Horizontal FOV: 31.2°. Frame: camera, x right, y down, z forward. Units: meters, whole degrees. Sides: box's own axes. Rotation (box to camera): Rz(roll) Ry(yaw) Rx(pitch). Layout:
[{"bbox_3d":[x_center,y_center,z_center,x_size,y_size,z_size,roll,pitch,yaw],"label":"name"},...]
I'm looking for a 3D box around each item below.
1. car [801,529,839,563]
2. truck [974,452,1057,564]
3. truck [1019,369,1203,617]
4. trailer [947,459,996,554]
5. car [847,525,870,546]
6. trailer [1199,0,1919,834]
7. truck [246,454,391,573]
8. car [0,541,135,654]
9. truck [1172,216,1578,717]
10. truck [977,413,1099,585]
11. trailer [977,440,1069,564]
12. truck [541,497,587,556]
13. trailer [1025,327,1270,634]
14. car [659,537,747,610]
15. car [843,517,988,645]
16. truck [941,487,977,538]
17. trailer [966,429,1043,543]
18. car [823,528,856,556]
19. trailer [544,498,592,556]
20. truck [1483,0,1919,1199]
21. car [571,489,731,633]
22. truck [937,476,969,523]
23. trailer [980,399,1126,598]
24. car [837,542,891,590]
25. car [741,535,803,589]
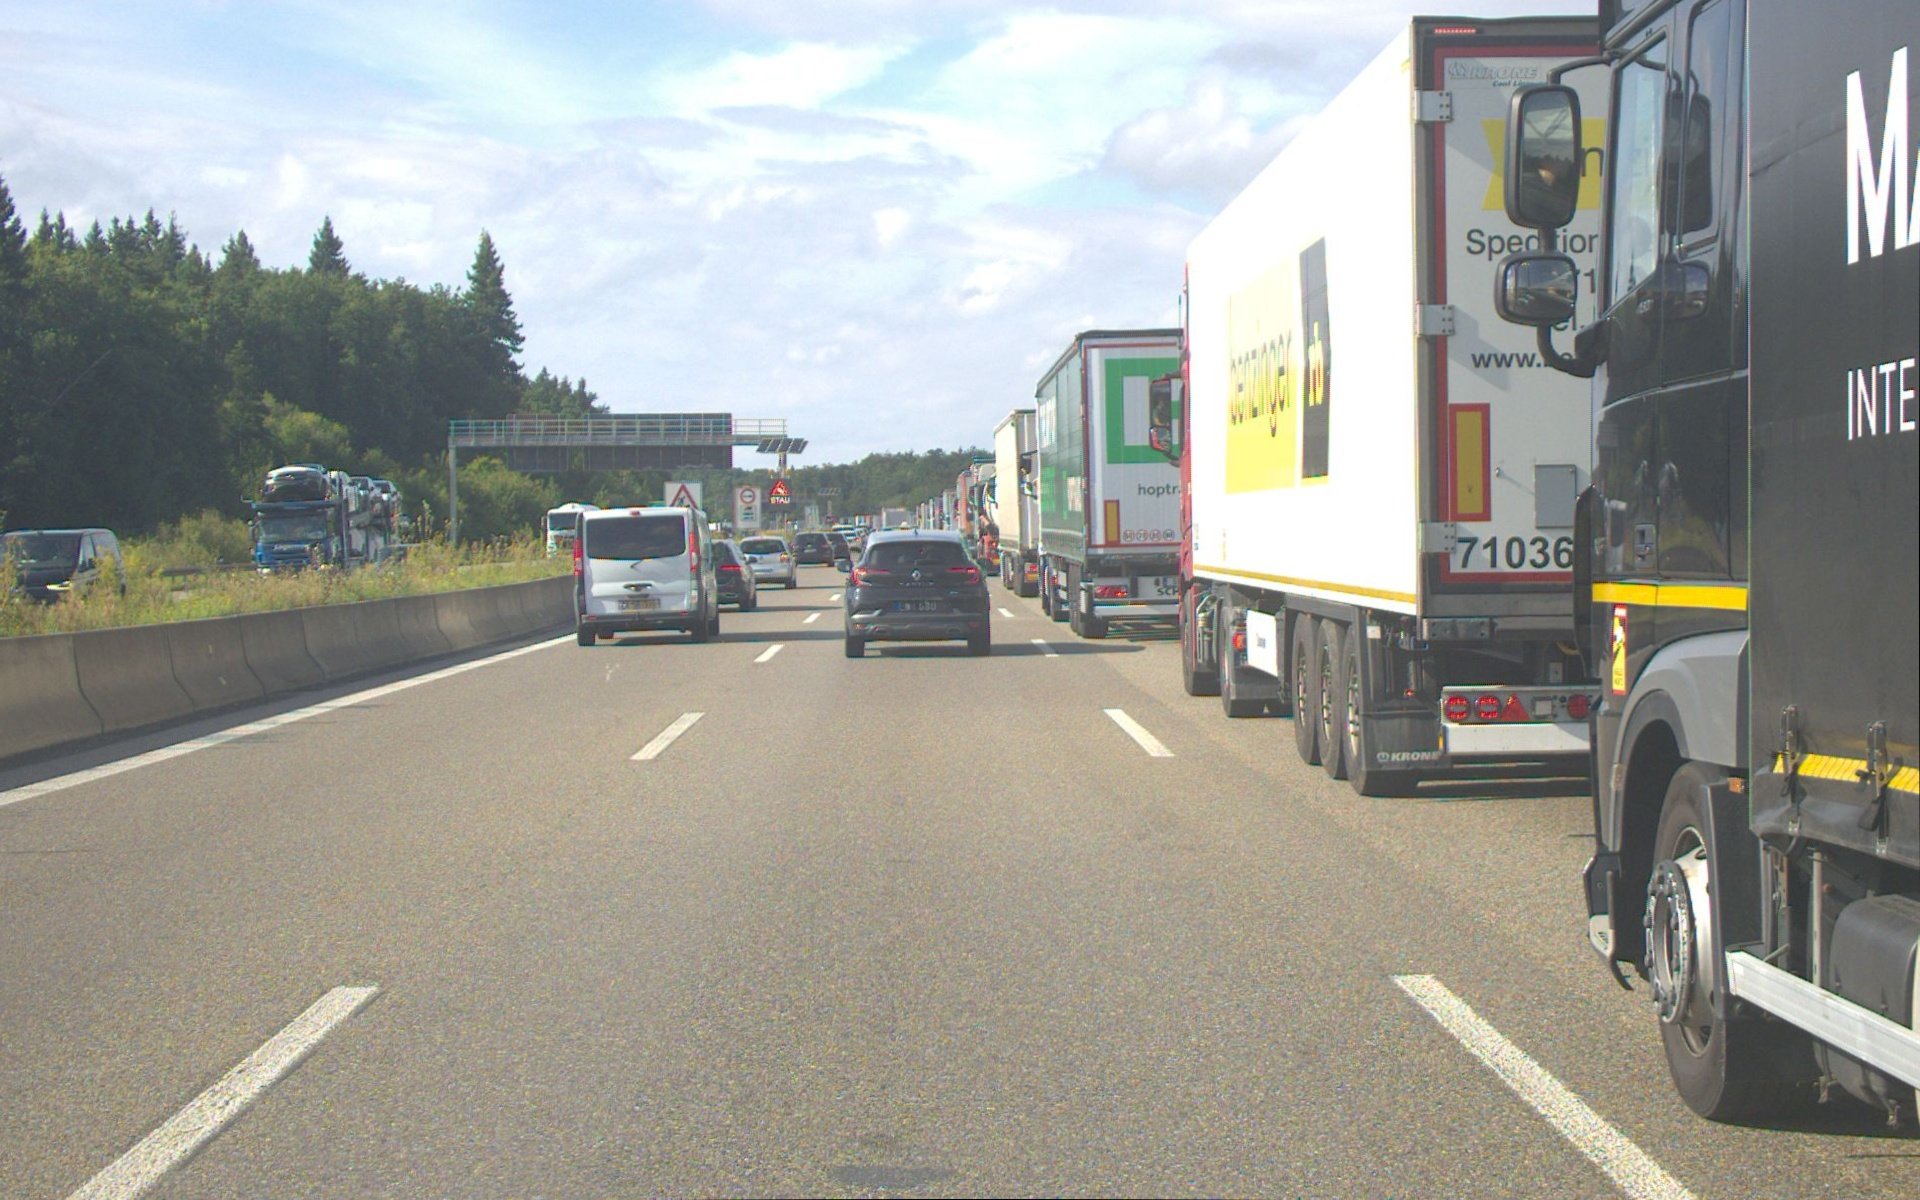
[{"bbox_3d":[-5.776,-2.237,142.266,1.434,1.305,3.534,2,1,-1],"label":"car"},{"bbox_3d":[1.802,-3.028,114.327,2.533,3.571,6.730,-1,1,-1],"label":"truck"},{"bbox_3d":[2.427,-1.733,57.488,2.647,3.855,6.997,-1,1,-1],"label":"truck"},{"bbox_3d":[0.512,-4.267,158.183,2.150,4.244,8.440,-1,1,0],"label":"trailer"},{"bbox_3d":[-6.481,-4.138,220.102,1.361,1.296,3.085,2,1,-1],"label":"car"},{"bbox_3d":[3.432,-0.974,22.642,2.791,3.925,13.070,0,1,0],"label":"trailer"},{"bbox_3d":[-21.012,-2.797,113.253,2.831,3.676,11.133,-1,1,-1],"label":"truck"},{"bbox_3d":[-16.165,-0.084,61.101,1.878,1.870,4.490,2,1,0],"label":"car"},{"bbox_3d":[3.434,-1.094,29.891,2.802,3.925,5.826,0,1,0],"label":"truck"},{"bbox_3d":[1.884,-2.456,85.014,2.708,4.046,6.362,-1,1,-1],"label":"truck"},{"bbox_3d":[1.890,-3.016,107.592,2.541,3.641,10.627,-1,1,0],"label":"trailer"},{"bbox_3d":[-22.280,-4.124,193.540,2.317,3.262,6.106,0,1,-4],"label":"truck"},{"bbox_3d":[2.506,-1.630,50.316,2.661,3.855,13.396,-1,1,-1],"label":"trailer"},{"bbox_3d":[-5.131,-0.547,68.956,1.500,1.391,3.476,2,1,-1],"label":"car"},{"bbox_3d":[-0.562,-0.258,43.359,1.696,1.478,4.160,2,1,-1],"label":"car"},{"bbox_3d":[-0.047,-5.193,204.420,1.993,2.922,4.982,2,1,0],"label":"truck"},{"bbox_3d":[1.700,-4.384,135.312,2.802,4.229,11.057,-1,1,0],"label":"trailer"},{"bbox_3d":[-5.725,-2.756,163.573,1.434,1.305,3.534,2,1,-1],"label":"car"},{"bbox_3d":[-22.663,-4.241,199.001,2.321,3.273,10.878,0,1,-4],"label":"trailer"},{"bbox_3d":[3.084,-0.605,5.182,2.740,4.024,10.204,0,1,-2],"label":"truck"},{"bbox_3d":[-4.549,-0.595,51.236,1.933,1.972,5.099,2,1,-1],"label":"car"},{"bbox_3d":[-0.474,-6.765,231.642,1.993,3.042,4.982,2,1,0],"label":"truck"},{"bbox_3d":[1.976,-2.266,77.900,2.703,4.068,12.945,-2,1,-1],"label":"trailer"},{"bbox_3d":[-2.927,-1.055,105.177,1.581,1.391,3.208,2,1,-1],"label":"car"},{"bbox_3d":[-5.122,-1.043,93.815,1.500,1.391,3.476,2,1,-1],"label":"car"}]
